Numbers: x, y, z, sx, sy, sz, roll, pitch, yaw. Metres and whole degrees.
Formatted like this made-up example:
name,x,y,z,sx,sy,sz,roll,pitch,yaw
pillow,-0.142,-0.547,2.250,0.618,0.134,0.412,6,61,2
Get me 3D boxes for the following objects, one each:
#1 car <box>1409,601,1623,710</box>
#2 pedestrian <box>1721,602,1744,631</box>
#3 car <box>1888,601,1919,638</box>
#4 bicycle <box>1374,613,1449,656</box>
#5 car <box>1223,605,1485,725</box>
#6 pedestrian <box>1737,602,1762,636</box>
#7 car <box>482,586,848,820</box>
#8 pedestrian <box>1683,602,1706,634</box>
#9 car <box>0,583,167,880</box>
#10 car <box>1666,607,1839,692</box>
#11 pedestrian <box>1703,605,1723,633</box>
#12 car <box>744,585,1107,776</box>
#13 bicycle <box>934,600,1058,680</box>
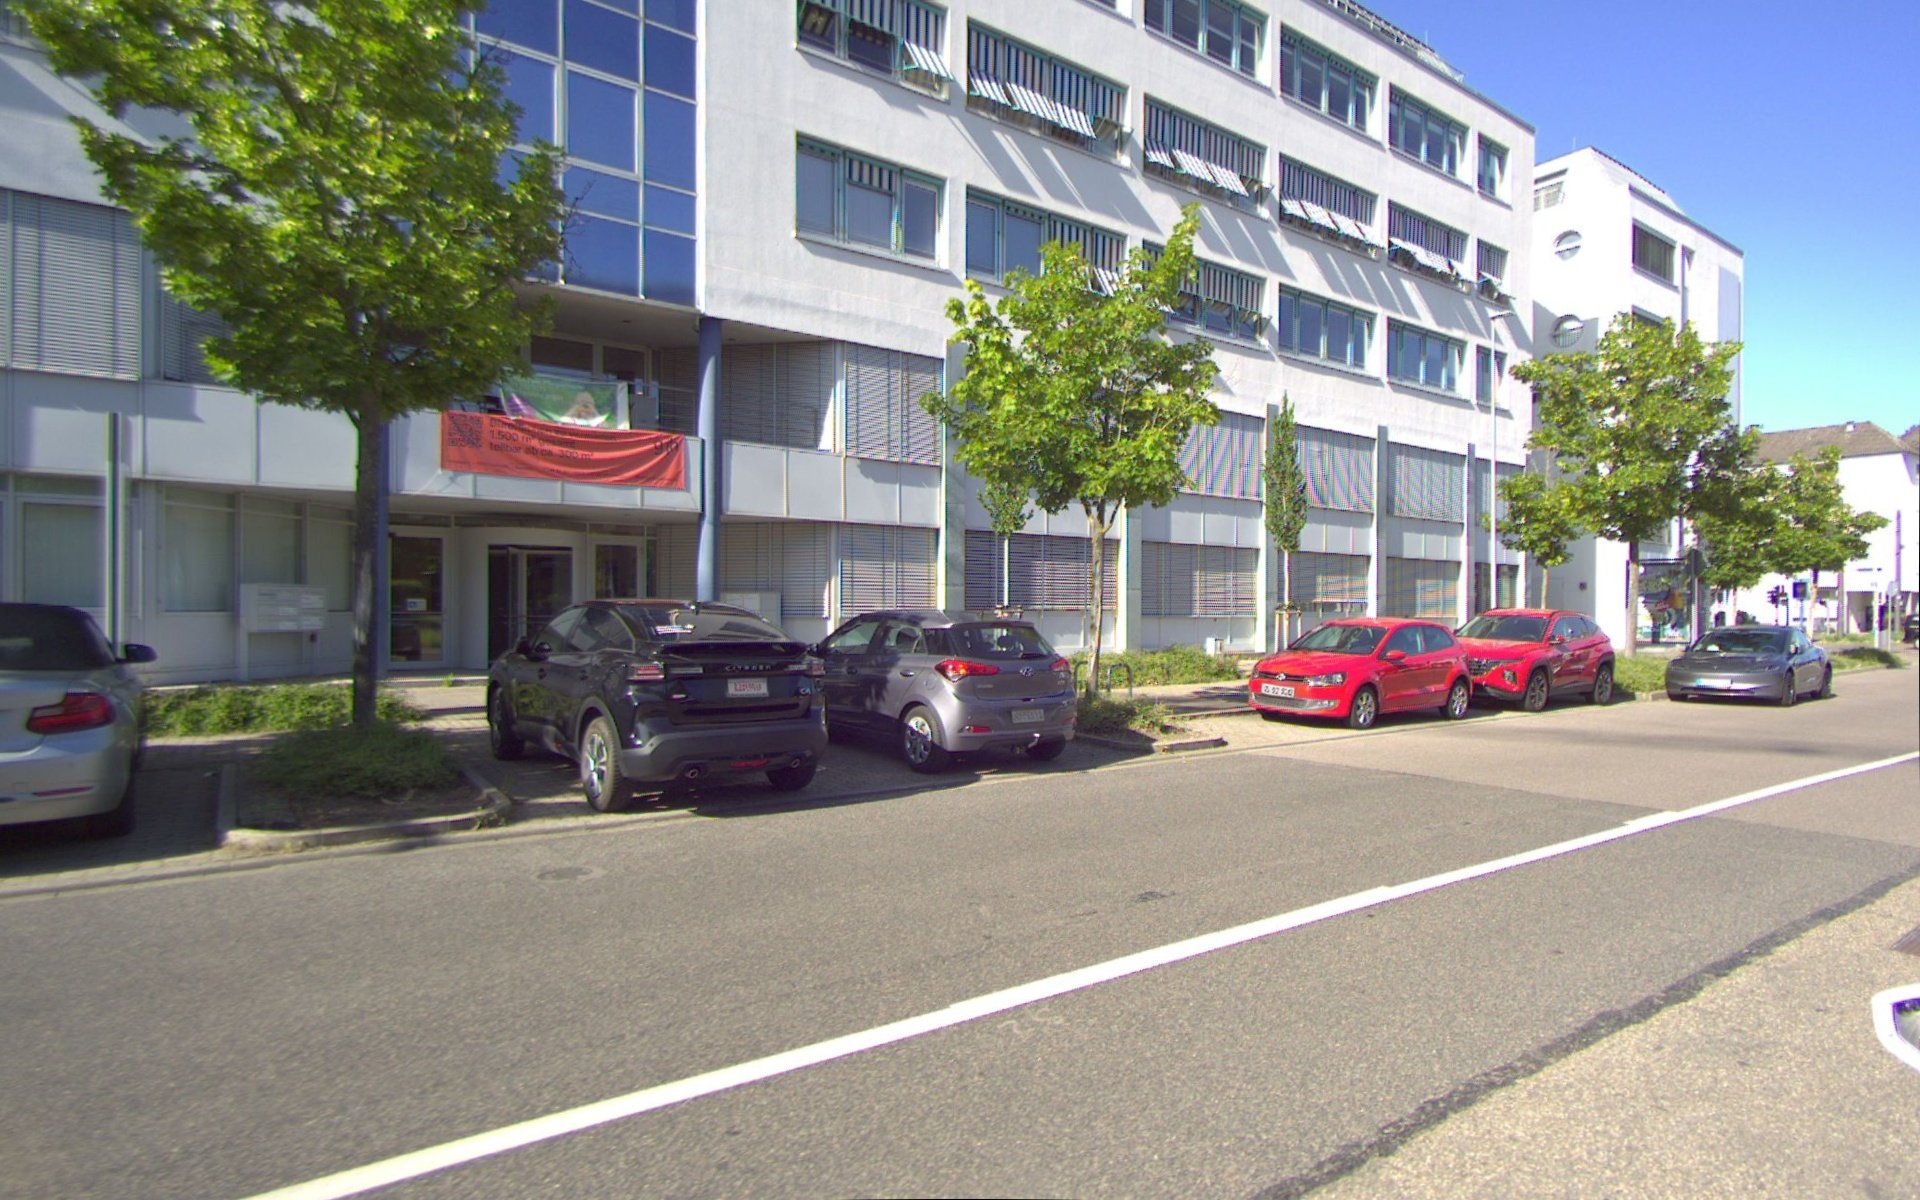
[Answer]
name,x,y,z,sx,sy,sz,roll,pitch,yaw
car,9.766,0.882,17.536,4.271,1.629,1.675,0,2,-38
pedestrian,48.460,1.001,63.030,1.145,1.794,0.913,0,0,-40
car,50.387,1.075,51.071,1.749,1.825,4.447,0,2,-38
bicycle,11.728,0.898,26.155,0.613,1.083,1.782,0,-1,-27
car,5.737,0.837,14.504,3.833,1.451,1.676,1,2,-35
pedestrian,41.842,1.008,53.239,1.145,1.749,0.804,0,0,-40
car,-2.845,0.667,8.922,1.678,1.451,4.352,0,2,-37
pedestrian,40.365,0.965,55.195,1.145,1.749,0.804,0,0,-40
car,-6.516,0.661,6.831,1.678,1.451,4.352,0,2,-37
car,15.509,0.889,19.571,4.507,1.488,1.675,0,-1,-39
pedestrian,48.743,1.219,64.996,1.145,1.749,0.804,0,0,-40
car,-0.594,0.678,10.978,1.679,1.559,4.349,0,2,-39
bicycle,0.669,0.705,18.098,2.205,1.365,0.706,1,-1,-30
